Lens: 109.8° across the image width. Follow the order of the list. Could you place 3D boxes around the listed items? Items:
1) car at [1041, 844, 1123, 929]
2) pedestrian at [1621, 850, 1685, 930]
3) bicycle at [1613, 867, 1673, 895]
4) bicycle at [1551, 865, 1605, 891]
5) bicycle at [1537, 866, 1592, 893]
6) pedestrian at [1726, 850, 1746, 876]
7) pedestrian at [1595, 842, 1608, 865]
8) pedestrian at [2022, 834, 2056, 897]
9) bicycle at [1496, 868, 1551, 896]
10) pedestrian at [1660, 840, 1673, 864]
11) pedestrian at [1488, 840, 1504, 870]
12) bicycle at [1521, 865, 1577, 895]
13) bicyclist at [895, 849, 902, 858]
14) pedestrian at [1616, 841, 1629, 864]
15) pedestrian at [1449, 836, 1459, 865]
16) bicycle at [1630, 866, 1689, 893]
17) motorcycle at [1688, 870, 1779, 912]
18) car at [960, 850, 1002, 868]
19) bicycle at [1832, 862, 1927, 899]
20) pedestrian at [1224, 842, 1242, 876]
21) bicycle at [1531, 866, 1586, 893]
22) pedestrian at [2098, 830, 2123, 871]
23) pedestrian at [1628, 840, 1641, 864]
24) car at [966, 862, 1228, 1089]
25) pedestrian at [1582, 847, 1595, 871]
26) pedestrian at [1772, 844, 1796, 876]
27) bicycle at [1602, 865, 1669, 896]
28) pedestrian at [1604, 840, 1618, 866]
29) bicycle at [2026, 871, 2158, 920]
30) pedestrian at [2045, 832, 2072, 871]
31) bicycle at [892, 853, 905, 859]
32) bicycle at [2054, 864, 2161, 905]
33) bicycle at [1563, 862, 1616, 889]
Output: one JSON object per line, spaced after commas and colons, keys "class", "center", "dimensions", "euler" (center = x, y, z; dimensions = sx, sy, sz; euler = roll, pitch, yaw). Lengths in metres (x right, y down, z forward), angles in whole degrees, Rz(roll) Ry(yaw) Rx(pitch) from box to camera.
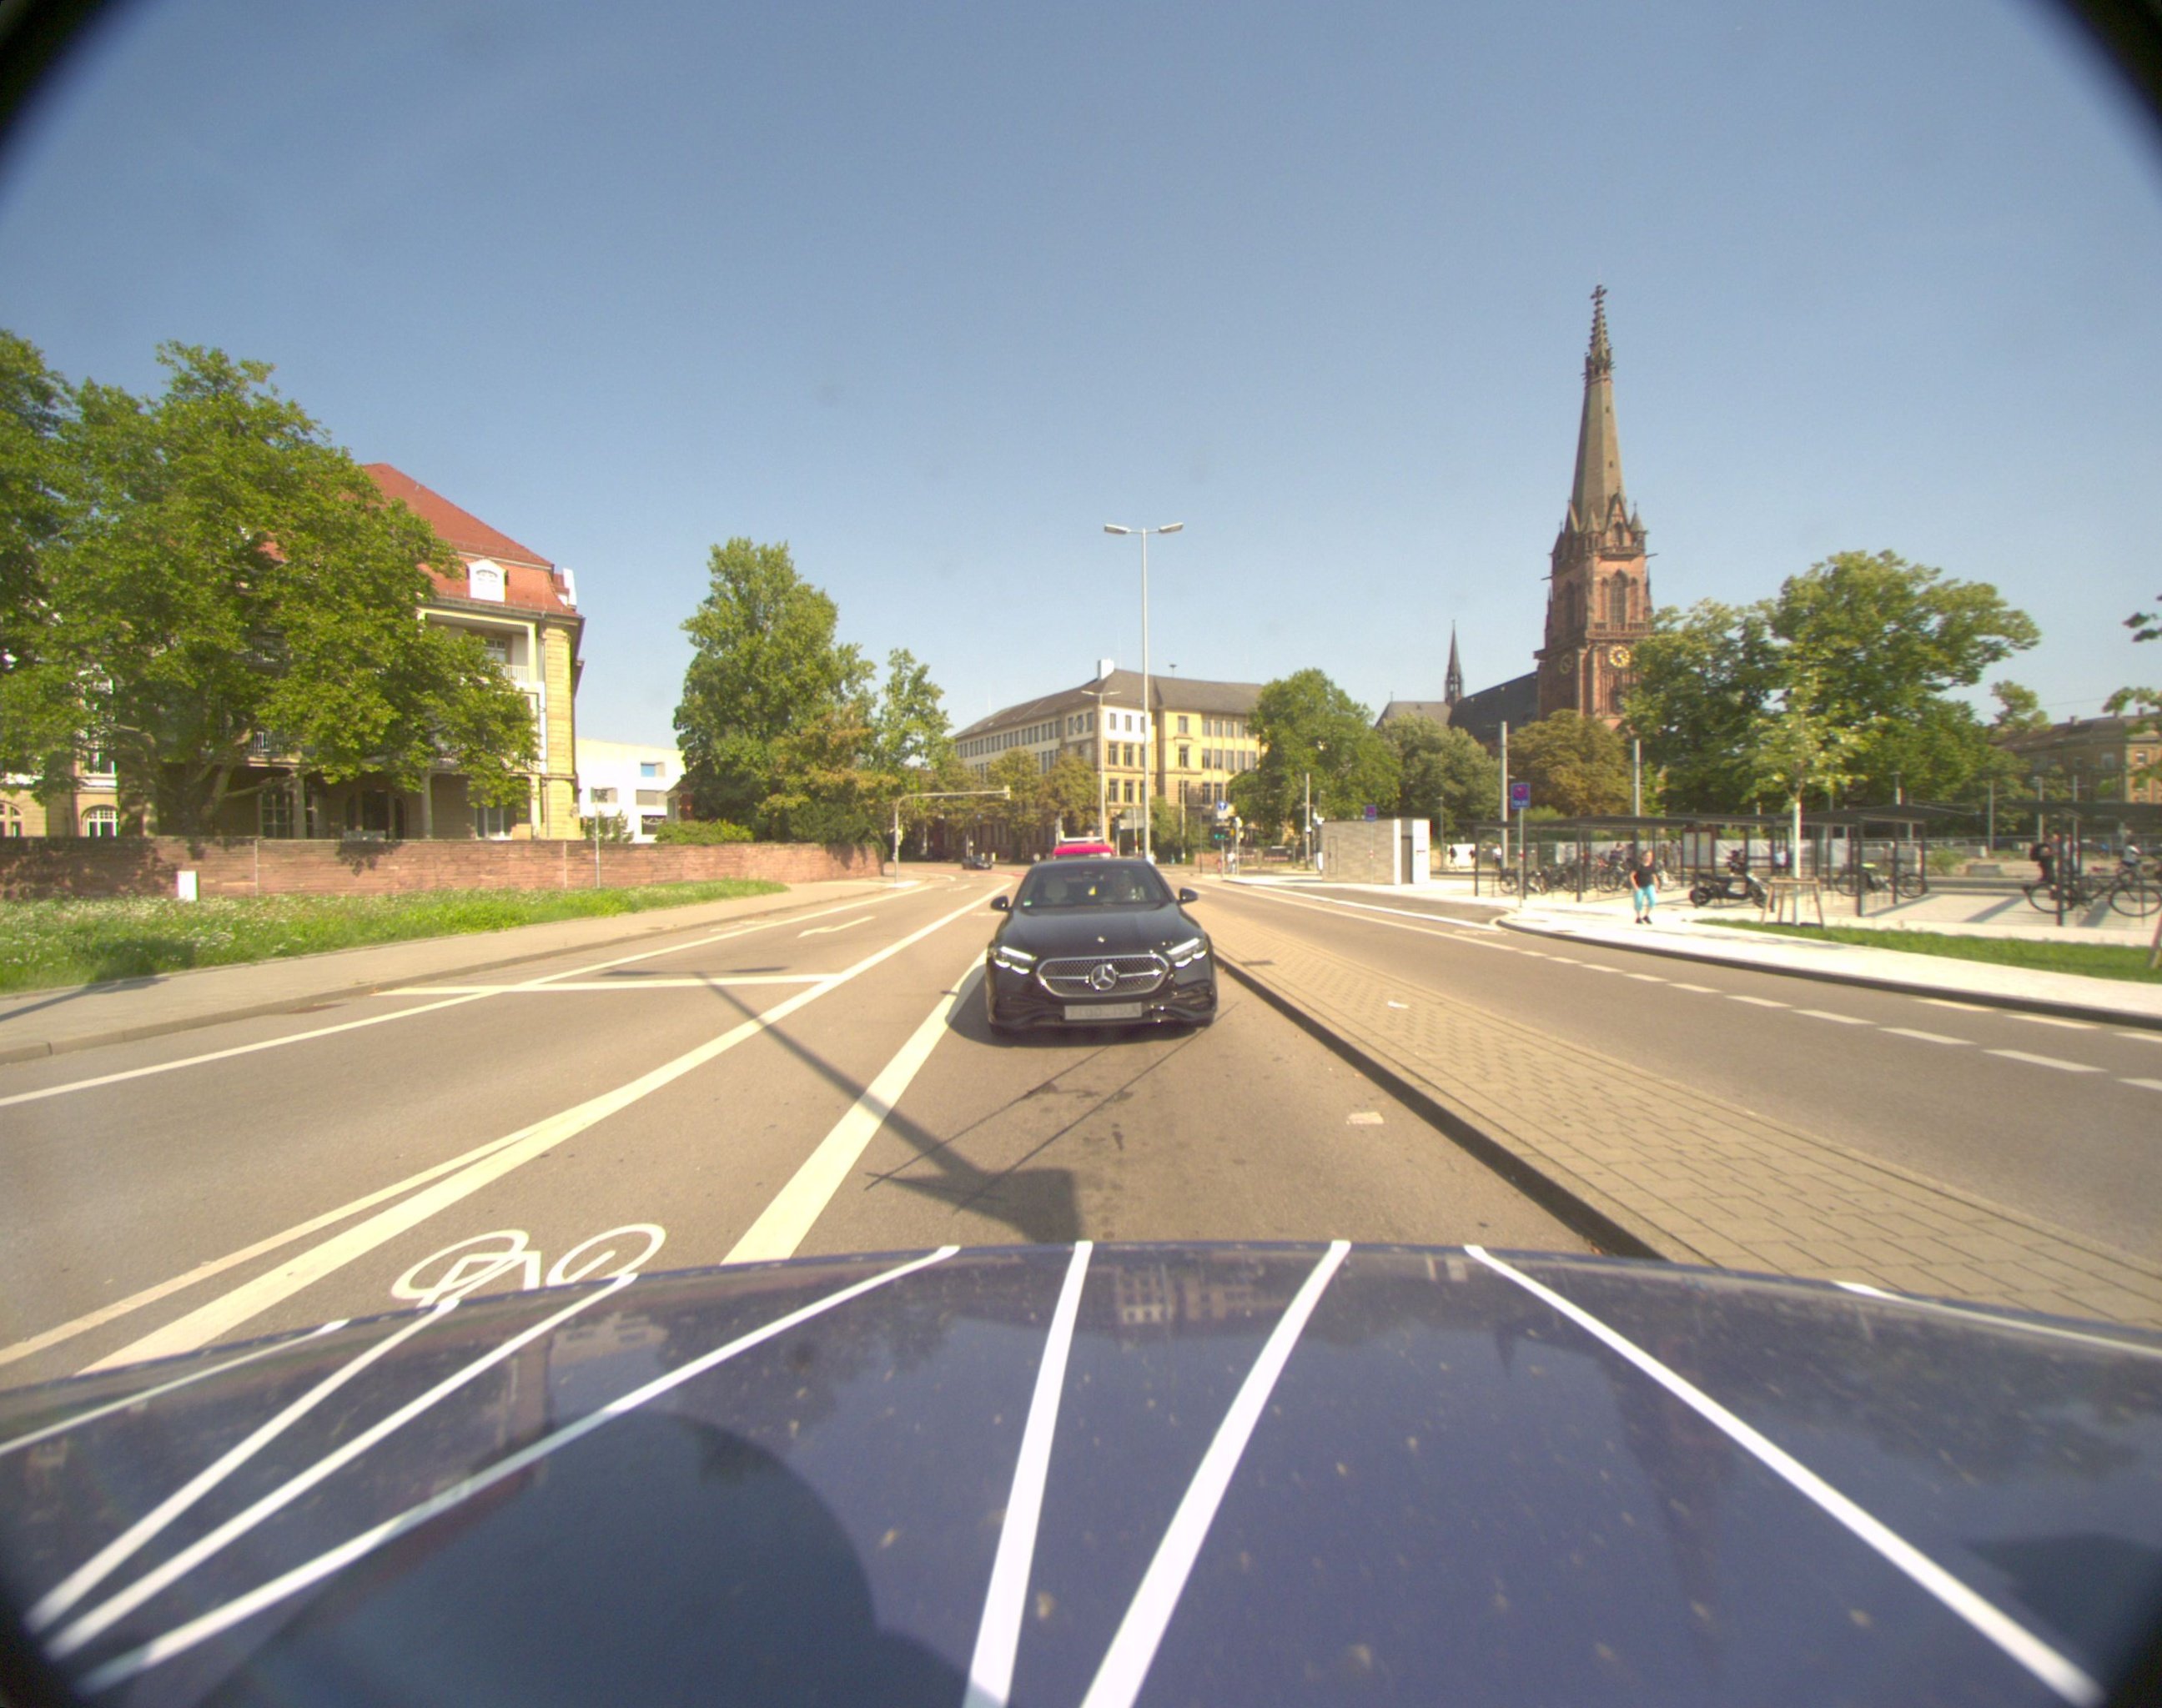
{"class": "car", "center": [0.047, 0.670, 18.391], "dimensions": [1.736, 1.809, 4.277], "euler": [0, 1, 1]}
{"class": "pedestrian", "center": [11.423, 0.709, 15.184], "dimensions": [0.754, 1.556, 0.666], "euler": [1, 1, -18]}
{"class": "bicycle", "center": [19.064, 0.899, 25.803], "dimensions": [0.411, 0.887, 1.584], "euler": [-1, 1, -34]}
{"class": "bicycle", "center": [17.997, 0.870, 27.553], "dimensions": [0.402, 0.887, 1.584], "euler": [-1, 1, -34]}
{"class": "bicycle", "center": [17.115, 0.894, 26.932], "dimensions": [0.411, 0.887, 1.584], "euler": [-1, 1, -34]}
{"class": "pedestrian", "center": [30.743, 0.417, 35.666], "dimensions": [0.468, 1.190, 0.572], "euler": [-1, 1, -34]}
{"class": "pedestrian", "center": [28.214, -0.023, 41.175], "dimensions": [0.440, 1.217, 0.382], "euler": [-4, 2, -33]}
{"class": "pedestrian", "center": [27.541, 0.325, 21.848], "dimensions": [0.334, 1.791, 0.591], "euler": [-2, 2, -39]}
{"class": "bicycle", "center": [14.878, 0.923, 25.591], "dimensions": [0.402, 0.887, 1.584], "euler": [-1, 1, -34]}
{"class": "pedestrian", "center": [30.319, -0.116, 39.335], "dimensions": [0.440, 1.217, 0.382], "euler": [-4, 2, -33]}
{"class": "pedestrian", "center": [24.213, 0.050, 44.313], "dimensions": [0.716, 1.738, 0.389], "euler": [0, 1, -3]}
{"class": "bicycle", "center": [16.085, 0.877, 26.154], "dimensions": [0.422, 0.962, 1.584], "euler": [-1, 1, -34]}
{"class": "bicyclist", "center": [-28.105, -0.105, 117.142], "dimensions": [0.922, 1.332, 0.668], "euler": [0, 1, 34]}
{"class": "pedestrian", "center": [29.177, -0.068, 40.940], "dimensions": [0.440, 1.217, 0.382], "euler": [-4, 2, -33]}
{"class": "pedestrian", "center": [22.411, -0.206, 45.635], "dimensions": [0.517, 1.697, 0.504], "euler": [0, 2, 23]}
{"class": "bicycle", "center": [20.252, 0.870, 26.620], "dimensions": [0.411, 0.887, 1.584], "euler": [-1, 1, -34]}
{"class": "motorcycle", "center": [17.343, 0.963, 20.225], "dimensions": [0.544, 1.003, 1.741], "euler": [-1, 1, -34]}
{"class": "car", "center": [-9.745, 0.472, 73.950], "dimensions": [2.004, 1.601, 4.234], "euler": [-3, 3, -41]}
{"class": "bicycle", "center": [23.403, 0.767, 22.300], "dimensions": [0.462, 1.003, 1.870], "euler": [-1, 1, -34]}
{"class": "pedestrian", "center": [9.034, 0.281, 45.175], "dimensions": [0.715, 2.002, 0.731], "euler": [-1, 1, -33]}
{"class": "bicycle", "center": [16.685, 0.884, 26.593], "dimensions": [0.402, 0.887, 1.584], "euler": [-1, 1, -34]}
{"class": "pedestrian", "center": [36.644, -0.120, 27.047], "dimensions": [0.570, 1.414, 0.468], "euler": [-4, 2, -33]}
{"class": "pedestrian", "center": [29.314, -0.092, 40.230], "dimensions": [0.440, 1.217, 0.382], "euler": [-4, 2, -33]}
{"class": "car", "center": [0.157, 0.879, 7.744], "dimensions": [1.824, 1.432, 4.873], "euler": [0, 1, 1]}
{"class": "pedestrian", "center": [27.805, 0.283, 41.613], "dimensions": [0.394, 1.310, 0.414], "euler": [-4, 1, -30]}
{"class": "pedestrian", "center": [31.675, 0.263, 34.234], "dimensions": [0.663, 1.387, 0.642], "euler": [-1, 2, -37]}
{"class": "bicycle", "center": [18.377, 0.865, 25.224], "dimensions": [0.534, 0.981, 1.709], "euler": [-1, 1, -34]}
{"class": "pedestrian", "center": [27.874, -0.048, 39.936], "dimensions": [0.440, 1.310, 0.434], "euler": [-4, 2, -33]}
{"class": "bicycle", "center": [22.610, 0.902, 17.030], "dimensions": [0.402, 1.003, 1.741], "euler": [-1, 1, -34]}
{"class": "pedestrian", "center": [36.426, -0.097, 28.326], "dimensions": [0.470, 1.414, 0.567], "euler": [-4, 1, -33]}
{"class": "bicycle", "center": [-28.121, 0.326, 117.177], "dimensions": [2.081, 0.951, 0.668], "euler": [0, 1, 34]}
{"class": "bicycle", "center": [26.951, 0.777, 19.917], "dimensions": [0.402, 1.003, 1.741], "euler": [-1, 1, -34]}
{"class": "bicycle", "center": [18.971, 0.789, 28.383], "dimensions": [0.453, 0.972, 1.584], "euler": [-3, 2, -34]}
